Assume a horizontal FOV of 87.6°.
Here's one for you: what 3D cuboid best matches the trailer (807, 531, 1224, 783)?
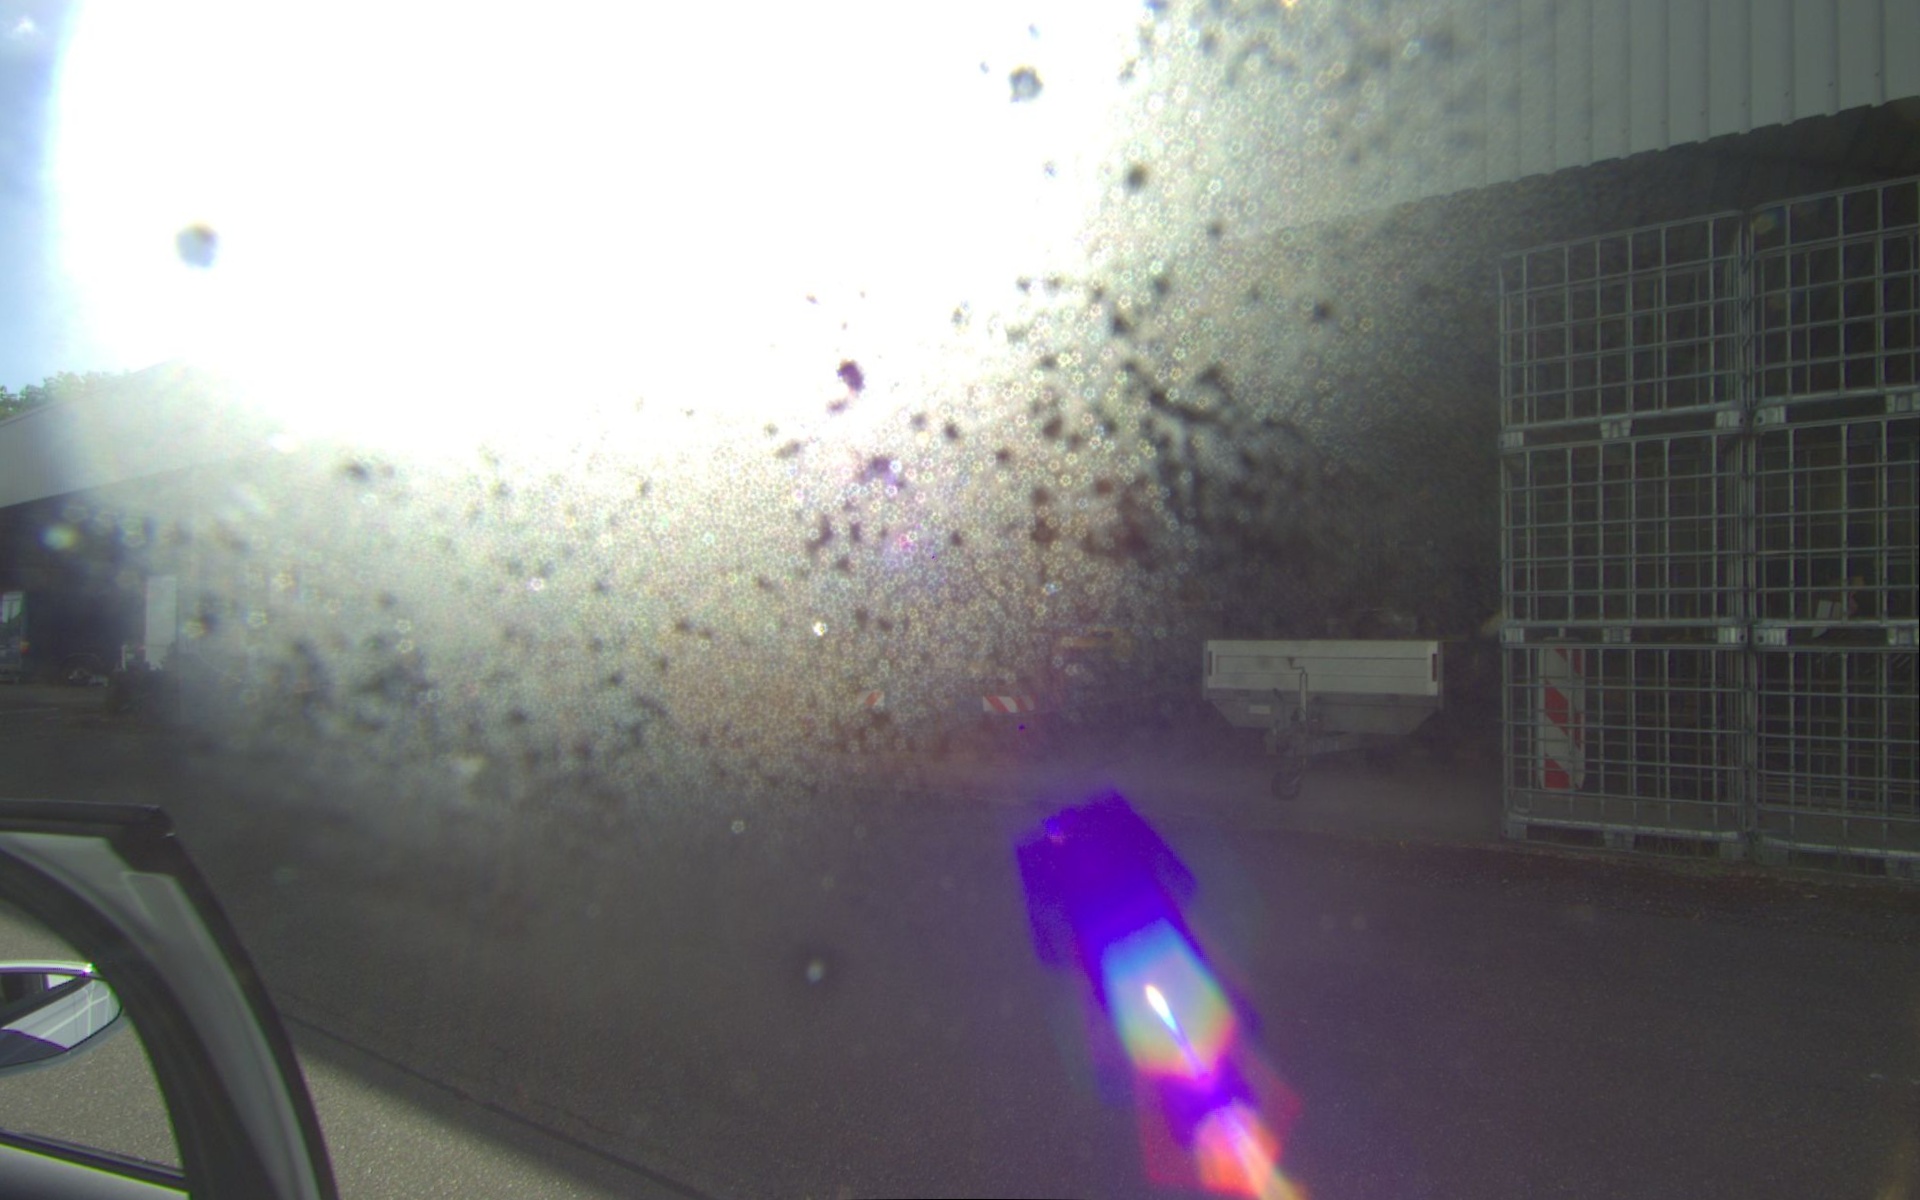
[{"bbox_3d":[0.997,0.521,11.163,2.049,2.058,5.753,-1,-1,33],"label":"trailer"}]

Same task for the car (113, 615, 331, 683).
[{"bbox_3d":[-18.232,1.252,24.917,1.662,1.543,4.031,-3,-5,33],"label":"car"}]

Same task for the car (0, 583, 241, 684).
[{"bbox_3d":[-21.385,0.936,25.646,1.890,2.337,4.425,-3,-4,33],"label":"car"}]

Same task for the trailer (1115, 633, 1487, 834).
[{"bbox_3d":[3.490,0.915,9.182,2.110,1.148,5.840,-1,-1,30],"label":"trailer"}]

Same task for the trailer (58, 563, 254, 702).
[{"bbox_3d":[-15.278,0.631,19.101,1.703,2.429,2.518,-2,-2,33],"label":"trailer"}]

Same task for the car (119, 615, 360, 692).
[{"bbox_3d":[-15.893,1.225,22.301,1.662,1.543,4.031,-3,-5,33],"label":"car"}]
